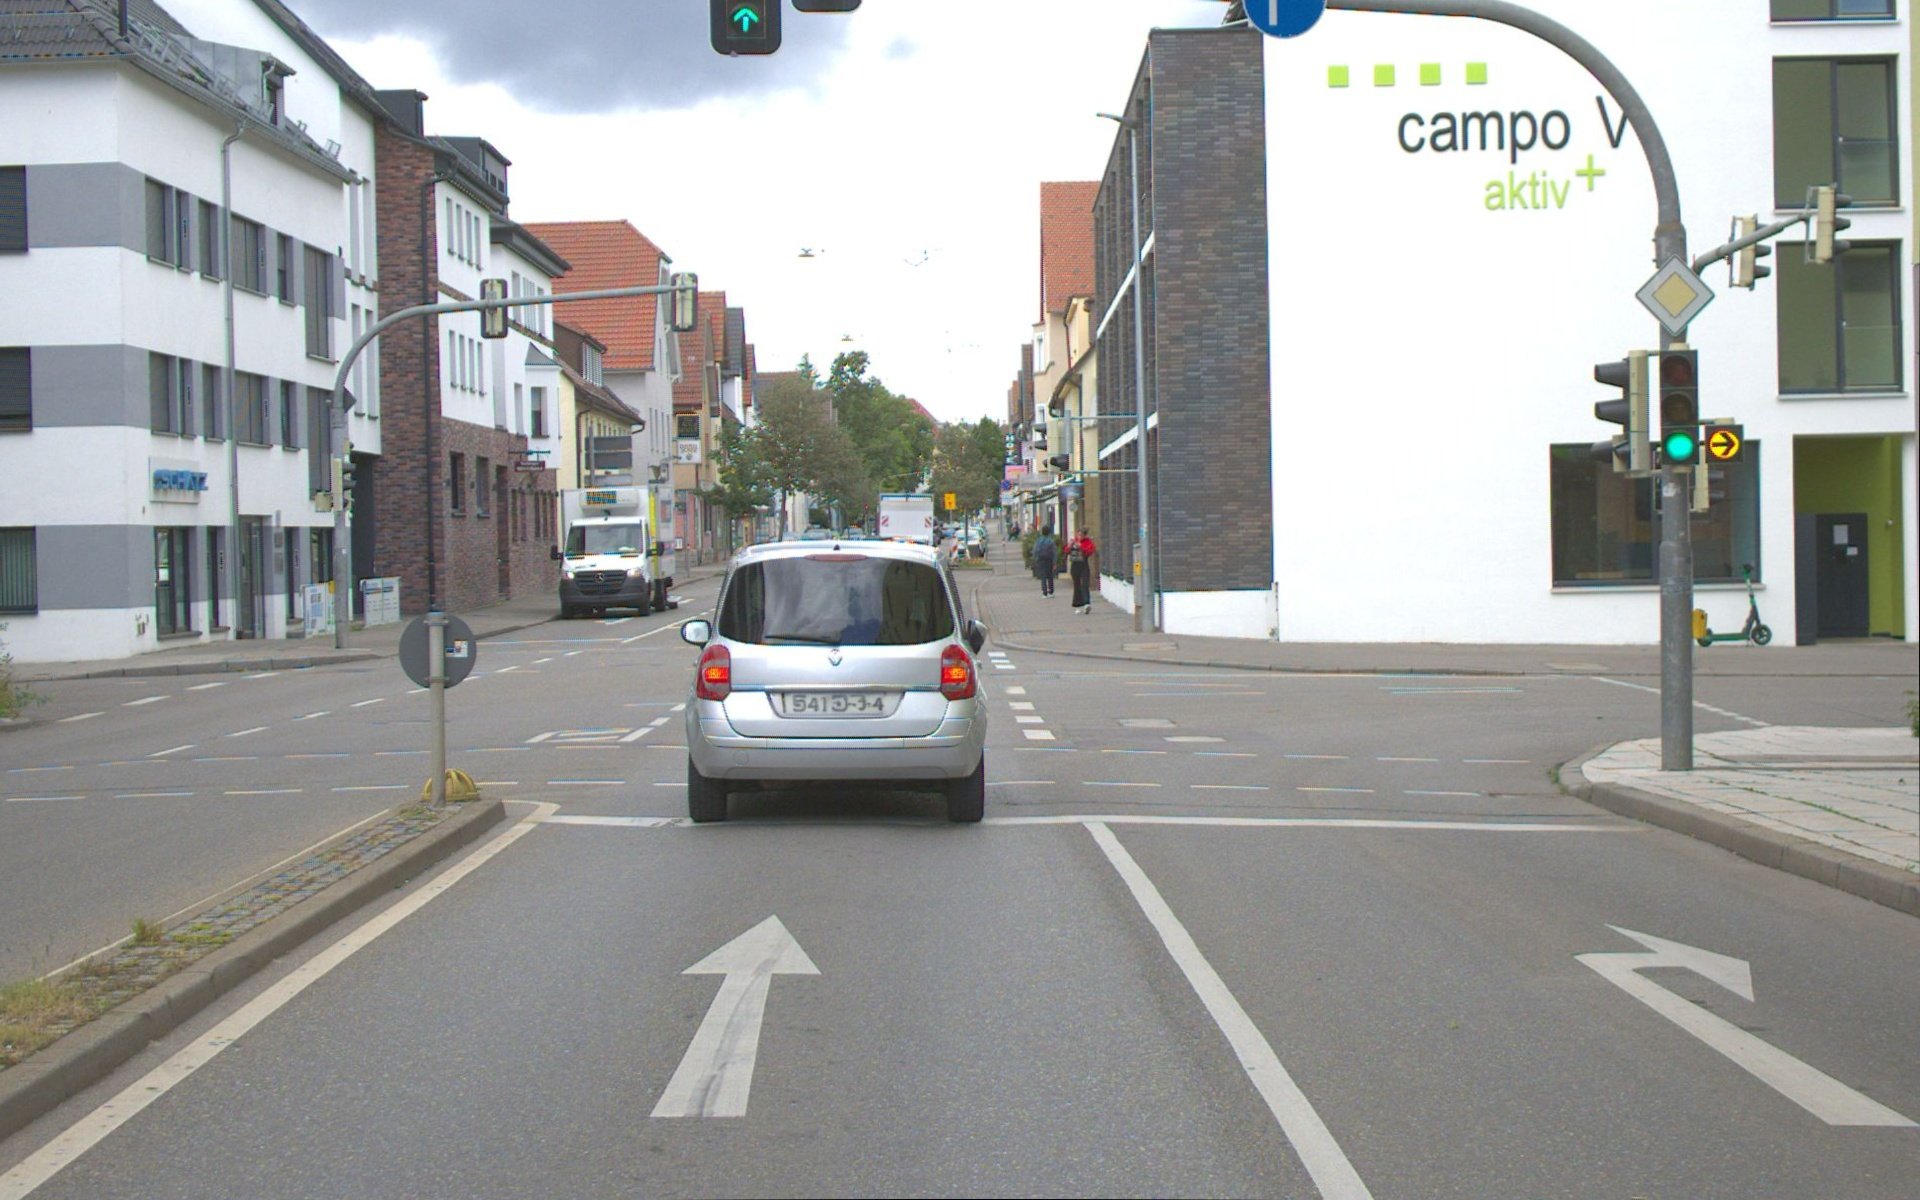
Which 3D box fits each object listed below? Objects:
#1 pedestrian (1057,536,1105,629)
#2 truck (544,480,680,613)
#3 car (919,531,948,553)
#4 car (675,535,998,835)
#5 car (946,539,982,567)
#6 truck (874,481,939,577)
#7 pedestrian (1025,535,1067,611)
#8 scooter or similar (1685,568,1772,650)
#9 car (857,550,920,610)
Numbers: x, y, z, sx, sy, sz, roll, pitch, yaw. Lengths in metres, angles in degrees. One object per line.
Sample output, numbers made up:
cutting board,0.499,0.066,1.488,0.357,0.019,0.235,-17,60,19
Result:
pedestrian,2.393,-0.353,68.067,0.807,1.780,0.861,-3,1,0
truck,-8.031,-1.274,80.171,2.435,2.943,8.365,0,1,-1
car,-1.680,-3.773,222.309,1.812,1.349,4.000,-2,1,0
car,-0.686,0.418,20.400,1.706,1.573,4.000,1,1,-1
car,0.212,-2.475,180.289,1.812,1.349,4.000,-2,1,0
truck,-2.216,-2.946,142.893,2.595,3.844,6.849,-1,1,-1
pedestrian,2.080,-0.669,83.438,0.889,1.780,0.785,-3,1,0
scooter or similar,11.874,0.135,53.159,1.230,1.231,0.406,1,1,1
car,-1.964,-0.571,95.232,1.706,1.573,4.000,1,1,-1
